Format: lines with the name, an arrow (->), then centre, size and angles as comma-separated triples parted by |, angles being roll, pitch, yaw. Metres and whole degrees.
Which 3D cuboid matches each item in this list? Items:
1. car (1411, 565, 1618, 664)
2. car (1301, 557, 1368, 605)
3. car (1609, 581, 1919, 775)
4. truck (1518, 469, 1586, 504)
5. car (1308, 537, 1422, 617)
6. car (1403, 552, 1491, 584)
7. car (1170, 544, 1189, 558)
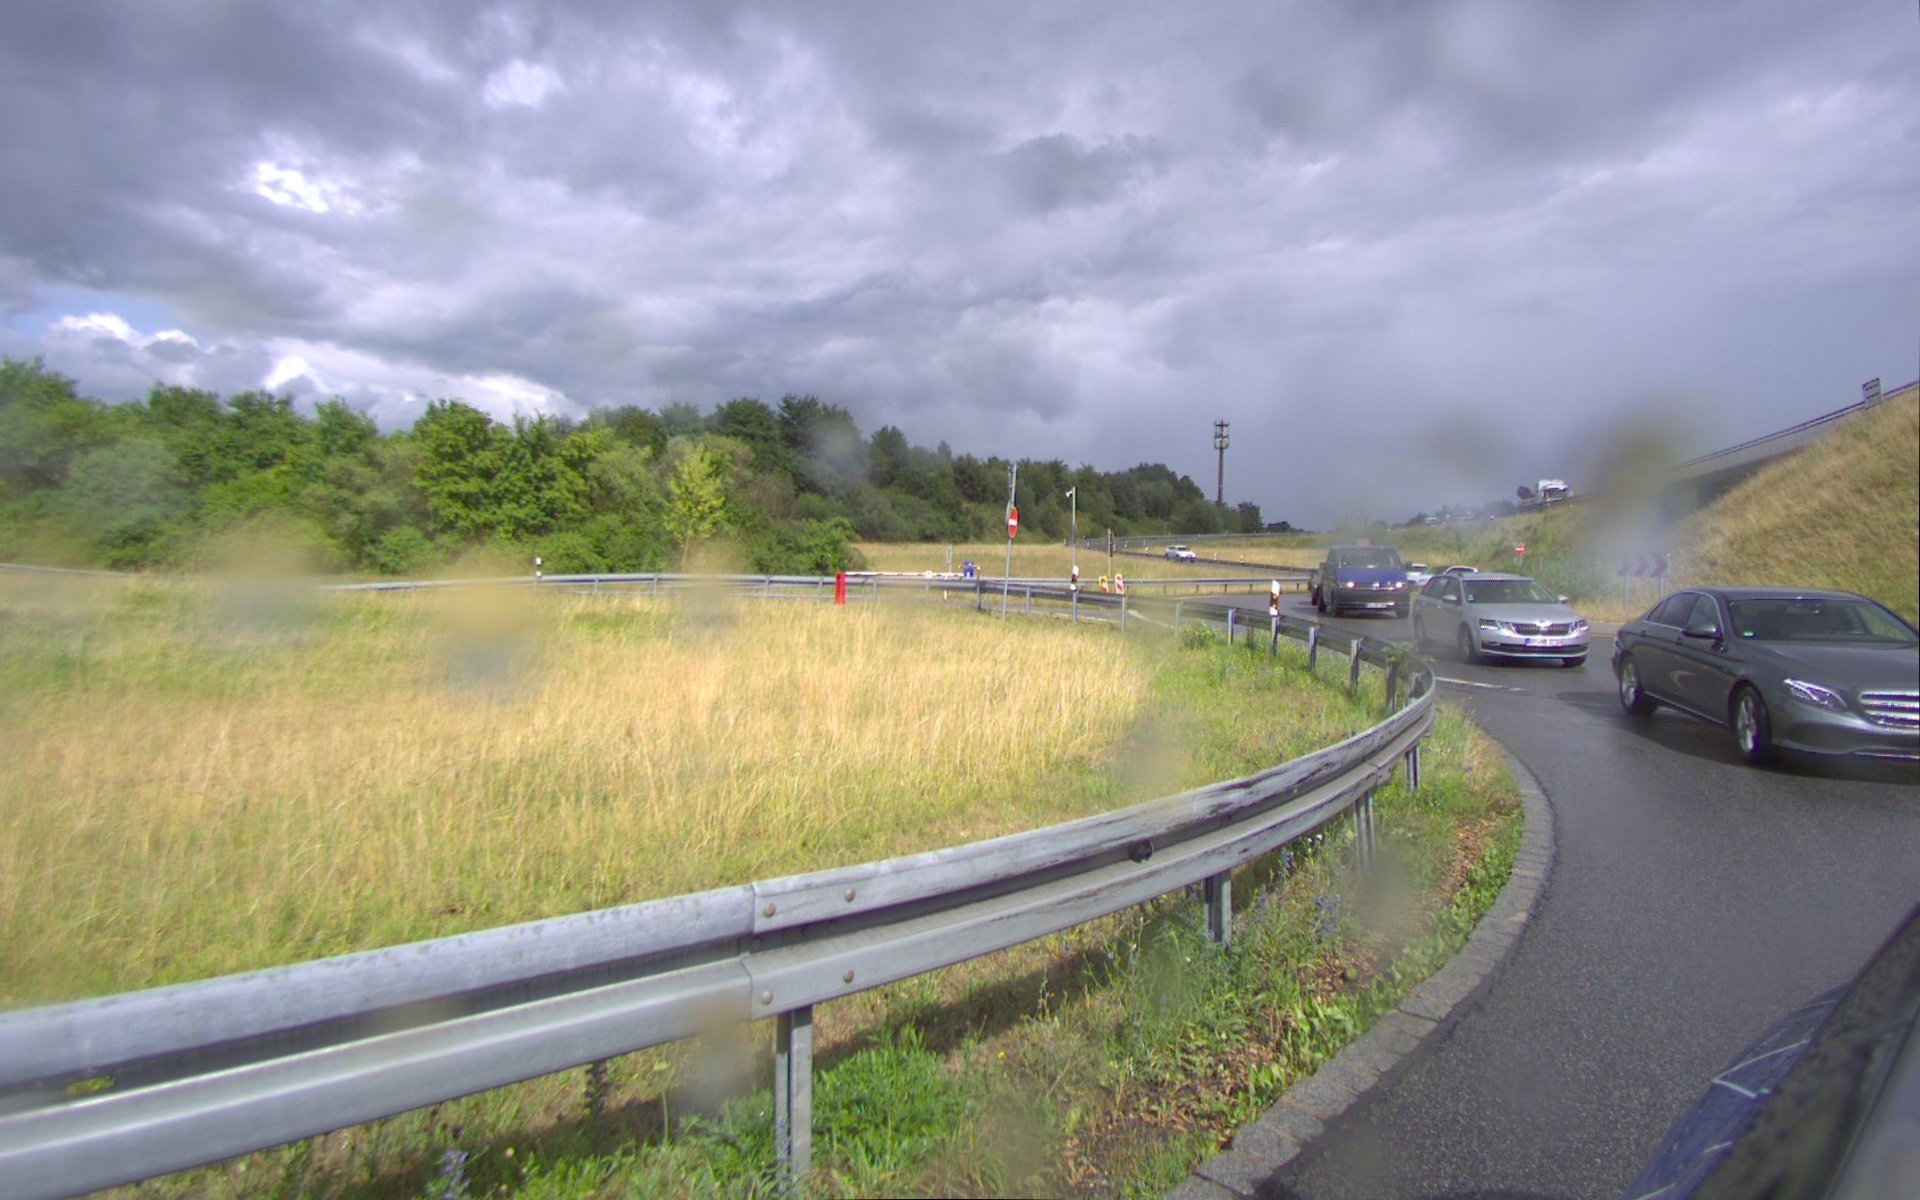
car -> 9.240, 0.147, 17.295 | 1.769, 1.415, 4.338 | 0, 2, 10
car -> 12.770, -0.687, 34.688 | 1.632, 1.492, 3.833 | 1, 3, 13
car -> 7.953, 0.551, 9.683 | 1.748, 1.408, 4.566 | 1, 2, 17
truck -> 65.038, -12.372, 111.505 | 3.108, 3.233, 9.263 | -1, 3, 8
car -> 11.162, -0.755, 28.317 | 1.864, 1.937, 5.668 | 1, 4, 11
car -> 23.884, -1.576, 49.674 | 3.765, 1.492, 1.623 | 0, 3, -18
car -> 22.039, -4.930, 101.872 | 1.684, 1.305, 3.765 | 1, 3, 10
